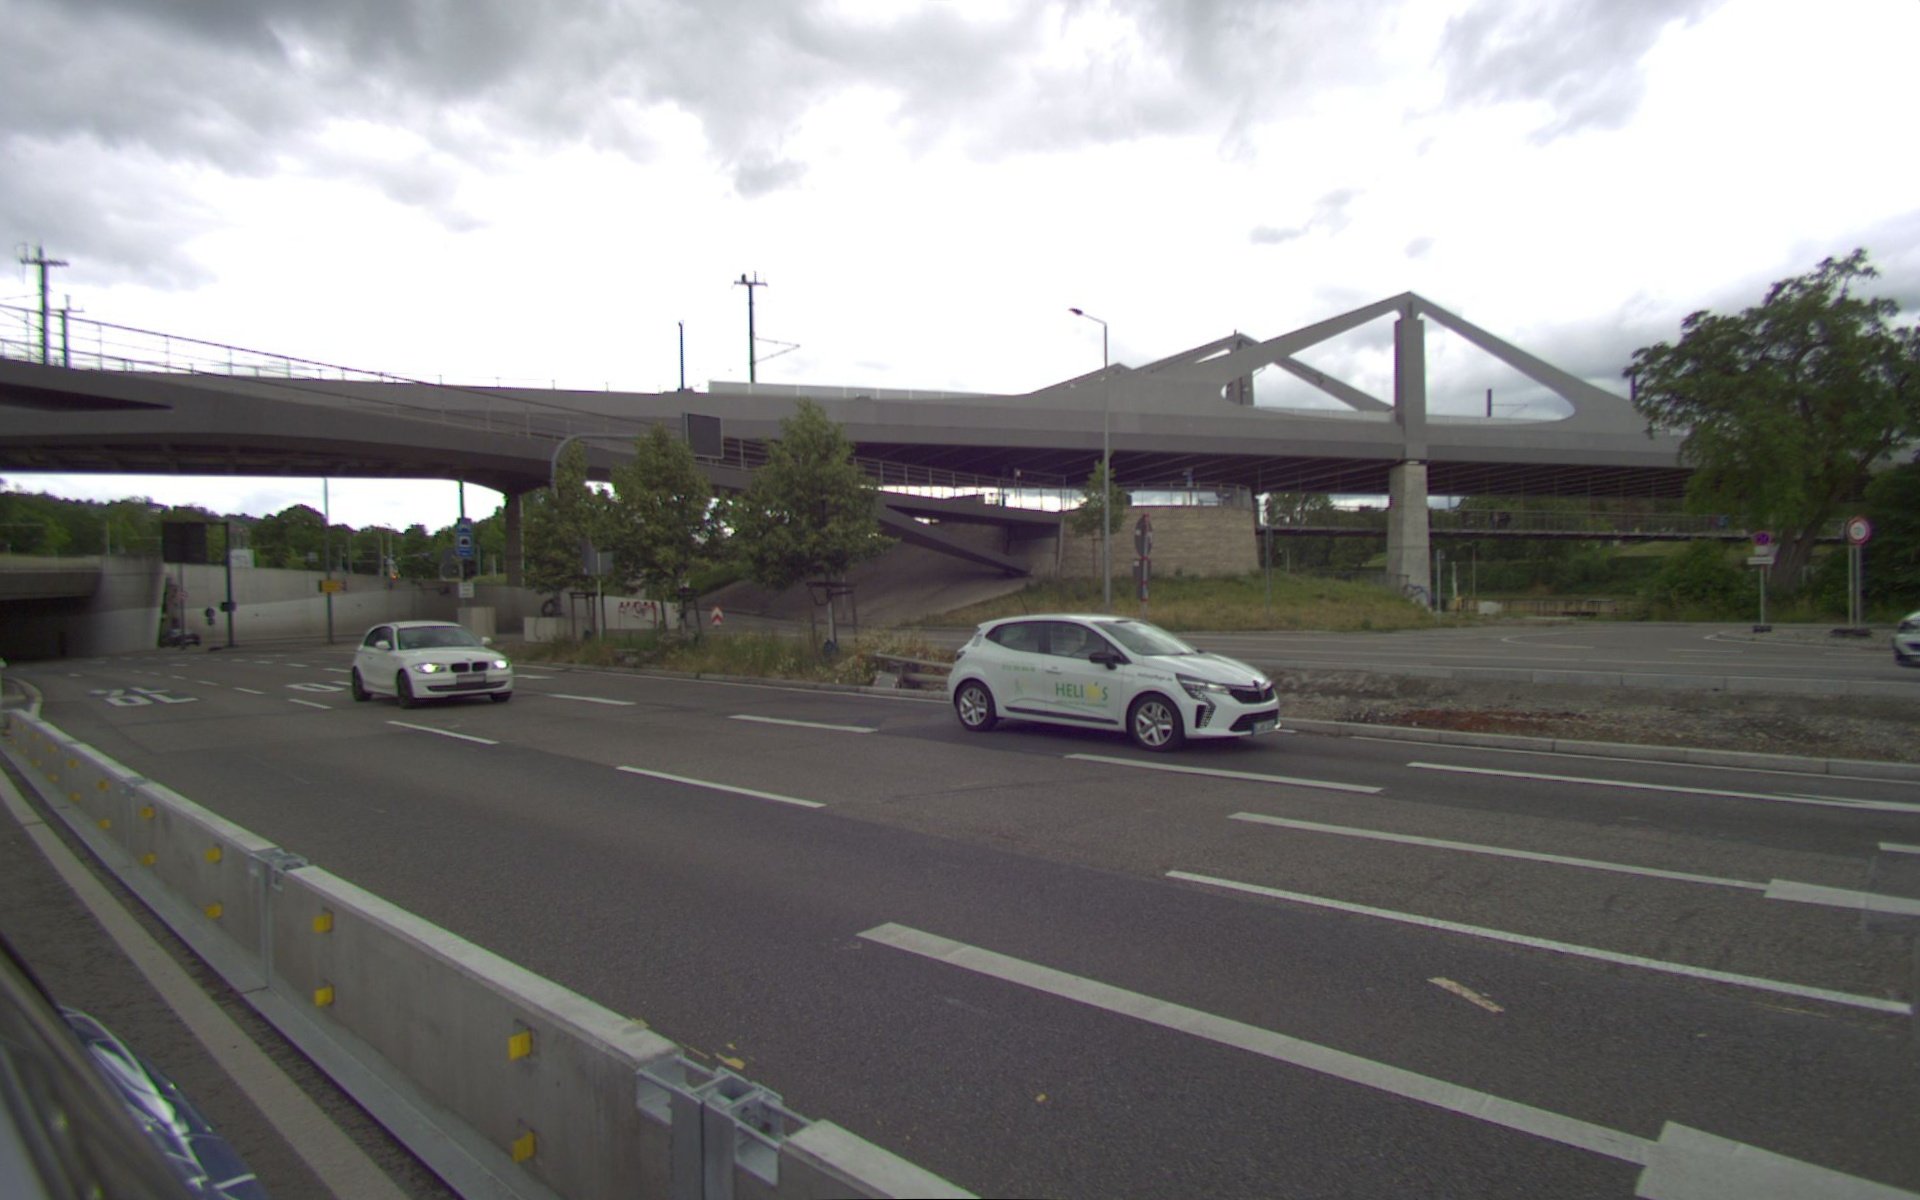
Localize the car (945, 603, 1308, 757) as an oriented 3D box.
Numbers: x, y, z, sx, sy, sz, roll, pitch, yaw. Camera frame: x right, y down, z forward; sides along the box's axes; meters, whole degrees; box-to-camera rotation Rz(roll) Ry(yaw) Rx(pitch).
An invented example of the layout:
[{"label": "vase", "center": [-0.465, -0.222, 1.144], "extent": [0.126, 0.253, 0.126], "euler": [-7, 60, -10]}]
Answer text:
[{"label": "car", "center": [1.788, 0.827, 11.794], "extent": [3.998, 1.495, 1.558], "euler": [-2, -2, 44]}]

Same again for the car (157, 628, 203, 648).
[{"label": "car", "center": [-62.451, 3.007, 81.024], "extent": [4.608, 1.489, 1.772], "euler": [-2, 0, 38]}]

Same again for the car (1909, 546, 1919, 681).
[{"label": "car", "center": [14.080, 0.150, 11.811], "extent": [4.286, 1.674, 1.781], "euler": [-1, -2, 42]}]

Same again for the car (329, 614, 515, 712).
[{"label": "car", "center": [-9.636, 1.026, 18.003], "extent": [3.981, 1.443, 1.621], "euler": [0, 3, 42]}]
